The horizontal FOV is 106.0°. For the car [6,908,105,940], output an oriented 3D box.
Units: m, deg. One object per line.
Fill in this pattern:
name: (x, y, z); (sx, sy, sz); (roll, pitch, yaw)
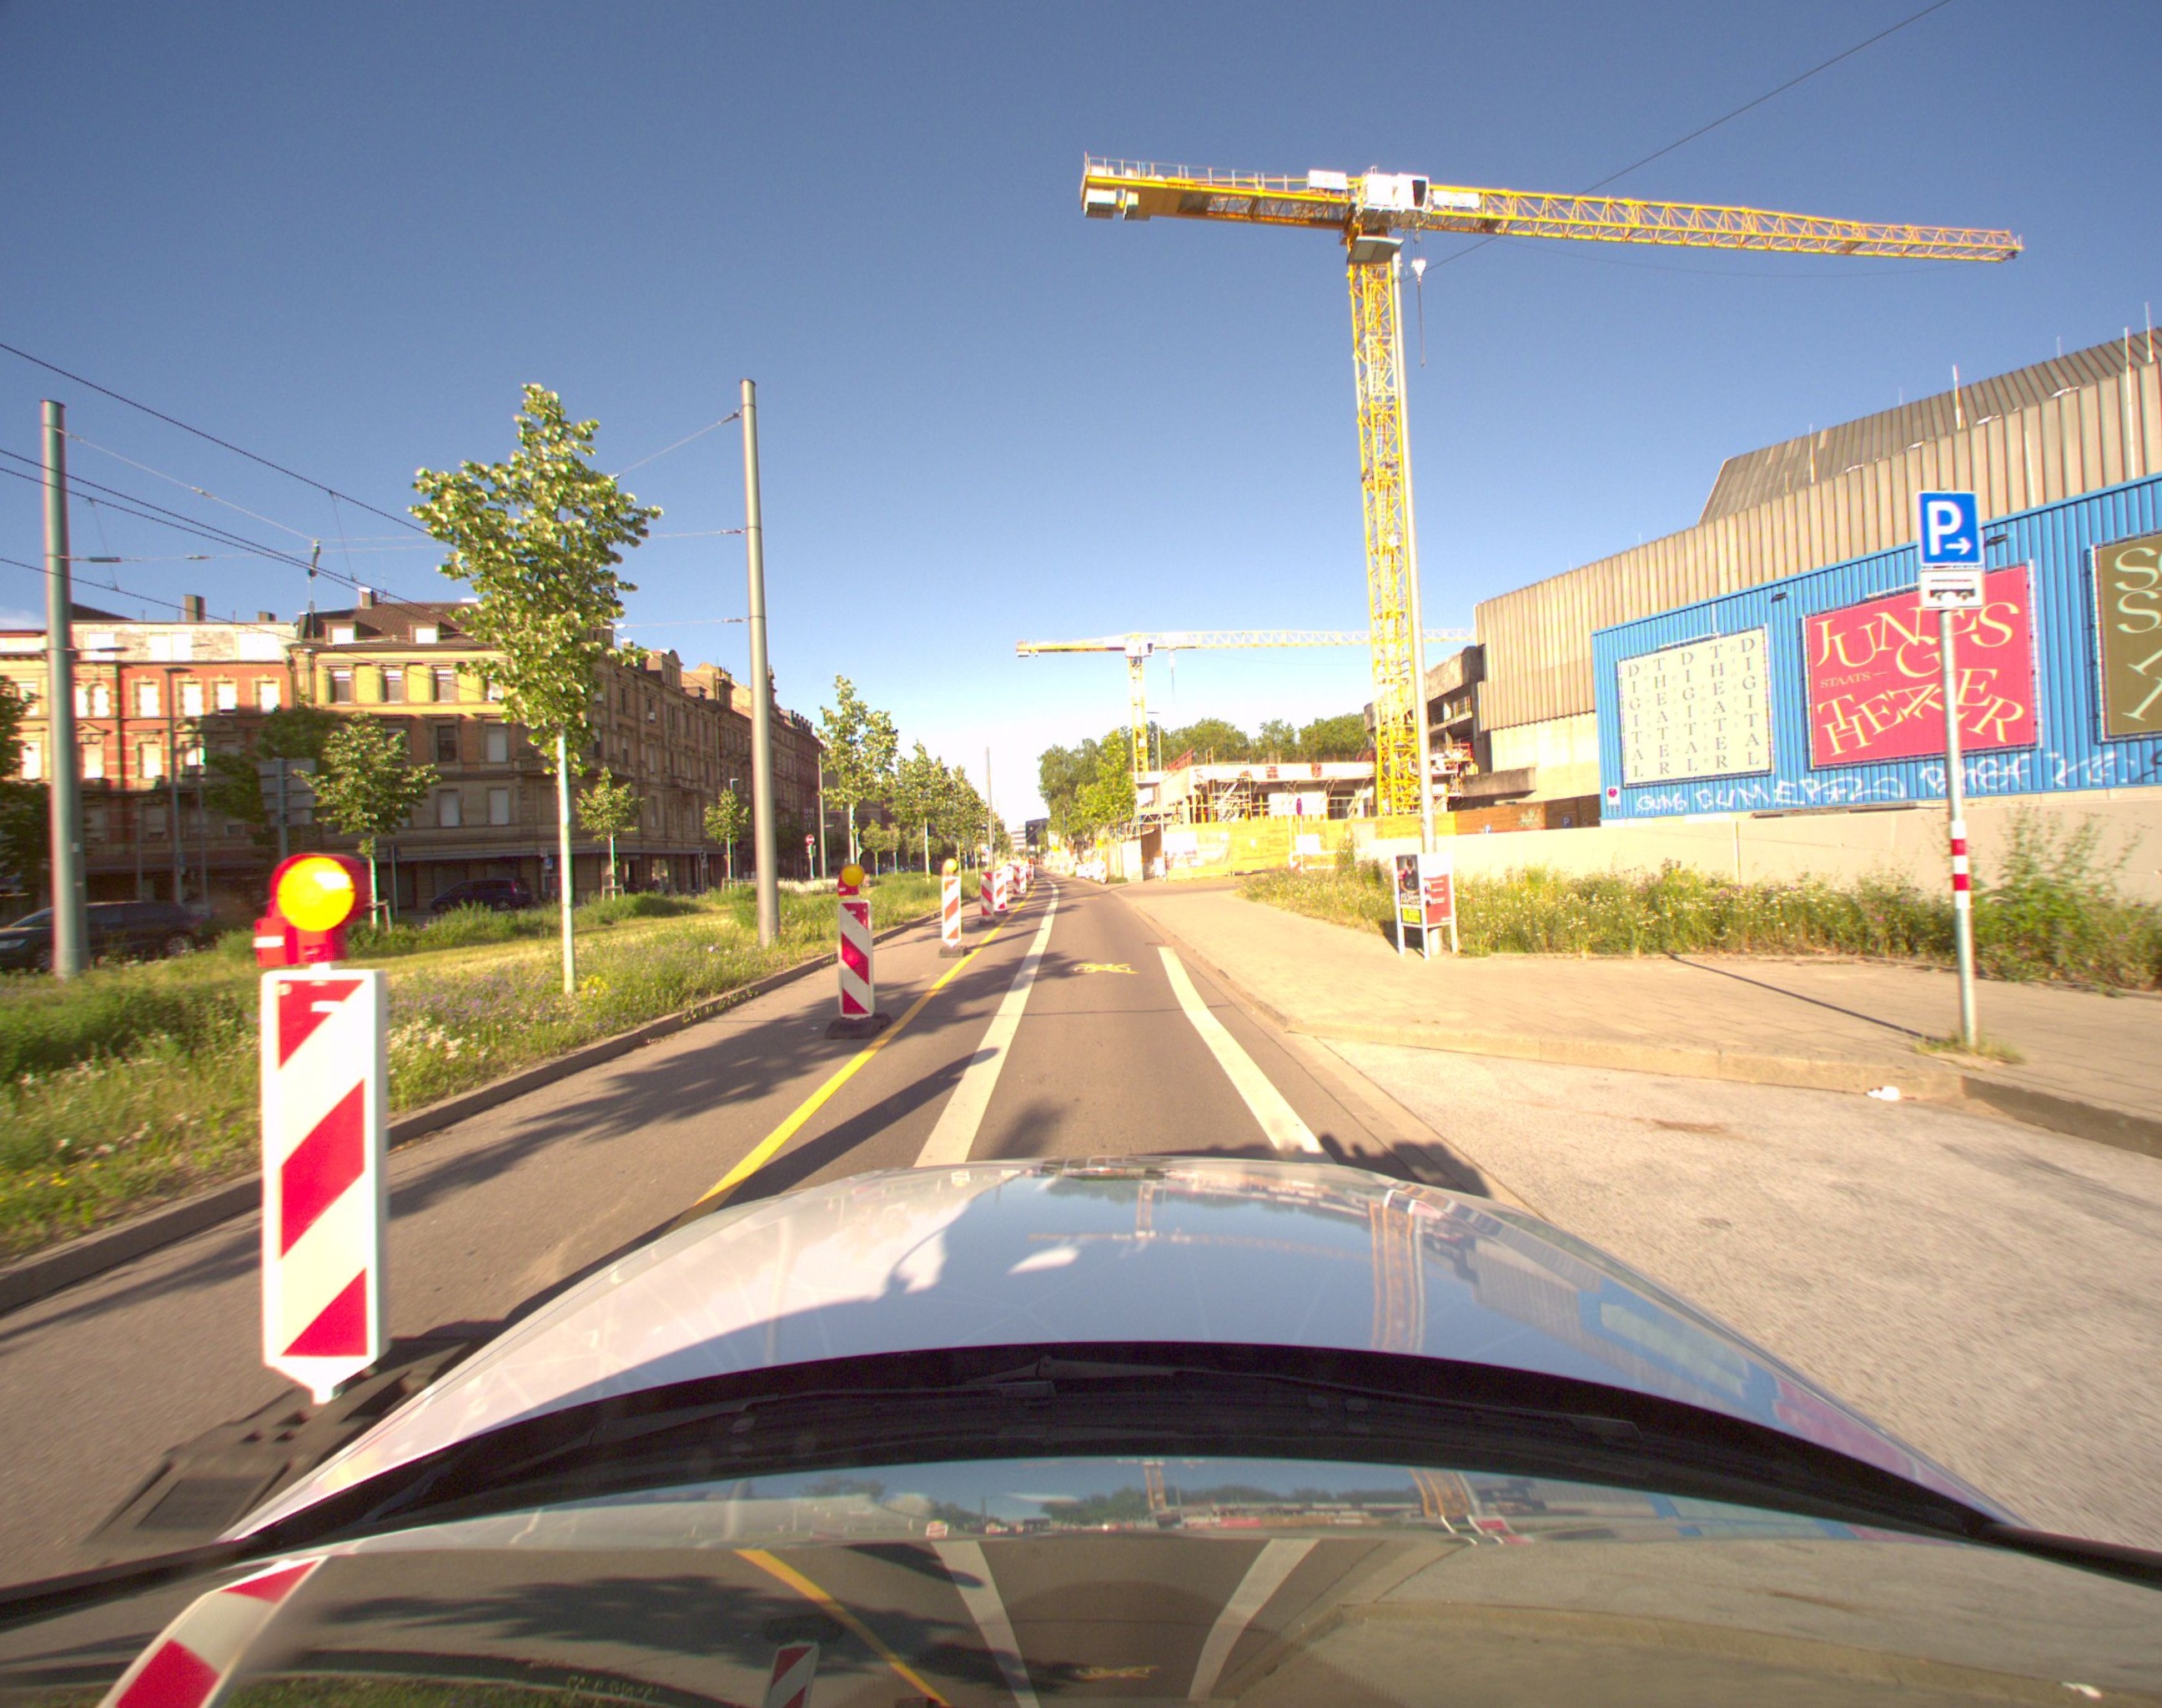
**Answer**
car: (-55.199, 3.775, 43.876); (3.052, 1.409, 1.481); (-3, 0, -9)

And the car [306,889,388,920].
car: (-41.453, 2.852, 46.052); (3.143, 1.468, 1.379); (-3, 0, -9)

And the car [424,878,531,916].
car: (-34.824, 2.454, 47.104); (4.508, 1.903, 1.892); (-3, 0, -9)

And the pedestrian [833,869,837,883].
pedestrian: (-32.344, 2.882, 107.179); (0.366, 1.765, 0.405); (0, -1, -5)

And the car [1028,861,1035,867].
car: (-14.812, 2.947, 241.845); (1.880, 1.842, 3.661); (-3, 0, -5)

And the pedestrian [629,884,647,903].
pedestrian: (-30.655, 2.714, 56.380); (0.689, 1.246, 0.928); (-2, -1, -4)

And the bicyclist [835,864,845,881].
bicyclist: (-24.445, 1.883, 82.532); (0.693, 1.657, 0.881); (-2, -1, -4)

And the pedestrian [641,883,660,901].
pedestrian: (-30.742, 2.731, 58.159); (0.789, 1.208, 0.928); (-2, -1, -4)

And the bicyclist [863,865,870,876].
bicyclist: (-25.802, 2.004, 97.860); (0.636, 1.239, 0.737); (-2, -1, -4)

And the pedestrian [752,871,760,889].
pedestrian: (-29.265, 2.306, 73.326); (0.486, 1.585, 0.532); (0, -1, -5)

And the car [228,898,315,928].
car: (-45.344, 3.296, 45.671); (3.052, 1.409, 1.575); (-3, 0, -9)

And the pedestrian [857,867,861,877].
pedestrian: (-33.275, 2.712, 122.006); (0.404, 1.532, 0.434); (0, -1, -5)

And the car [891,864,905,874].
car: (-30.101, 2.499, 134.009); (1.564, 1.562, 4.706); (-3, 0, -5)

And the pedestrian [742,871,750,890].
pedestrian: (-30.488, 2.424, 74.120); (0.507, 1.765, 0.405); (0, -1, -5)

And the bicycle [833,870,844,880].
bicycle: (-24.361, 2.096, 81.796); (0.693, 0.978, 1.825); (-2, -1, -3)

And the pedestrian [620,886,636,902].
pedestrian: (-31.647, 2.812, 56.846); (0.689, 1.059, 0.735); (-2, -1, -4)

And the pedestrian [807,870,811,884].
pedestrian: (-31.946, 2.706, 95.584); (0.403, 1.585, 0.425); (0, -1, -5)

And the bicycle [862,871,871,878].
bicycle: (-25.798, 2.444, 98.122); (0.636, 0.857, 2.029); (-2, 0, -3)

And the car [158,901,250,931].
car: (-48.561, 3.420, 45.146); (3.052, 1.409, 1.575); (-3, 0, -9)

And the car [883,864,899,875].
car: (-29.265, 2.424, 125.583); (1.564, 1.562, 4.707); (-3, 0, -5)

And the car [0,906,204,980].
car: (-25.537, 2.209, 20.880); (1.722, 1.461, 3.905); (-1, 0, 5)

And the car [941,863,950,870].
car: (-29.832, 2.720, 179.218); (1.591, 1.483, 3.619); (-1, 0, -3)

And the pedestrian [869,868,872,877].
pedestrian: (-35.688, 3.143, 137.985); (0.461, 1.585, 0.433); (0, -1, -11)
